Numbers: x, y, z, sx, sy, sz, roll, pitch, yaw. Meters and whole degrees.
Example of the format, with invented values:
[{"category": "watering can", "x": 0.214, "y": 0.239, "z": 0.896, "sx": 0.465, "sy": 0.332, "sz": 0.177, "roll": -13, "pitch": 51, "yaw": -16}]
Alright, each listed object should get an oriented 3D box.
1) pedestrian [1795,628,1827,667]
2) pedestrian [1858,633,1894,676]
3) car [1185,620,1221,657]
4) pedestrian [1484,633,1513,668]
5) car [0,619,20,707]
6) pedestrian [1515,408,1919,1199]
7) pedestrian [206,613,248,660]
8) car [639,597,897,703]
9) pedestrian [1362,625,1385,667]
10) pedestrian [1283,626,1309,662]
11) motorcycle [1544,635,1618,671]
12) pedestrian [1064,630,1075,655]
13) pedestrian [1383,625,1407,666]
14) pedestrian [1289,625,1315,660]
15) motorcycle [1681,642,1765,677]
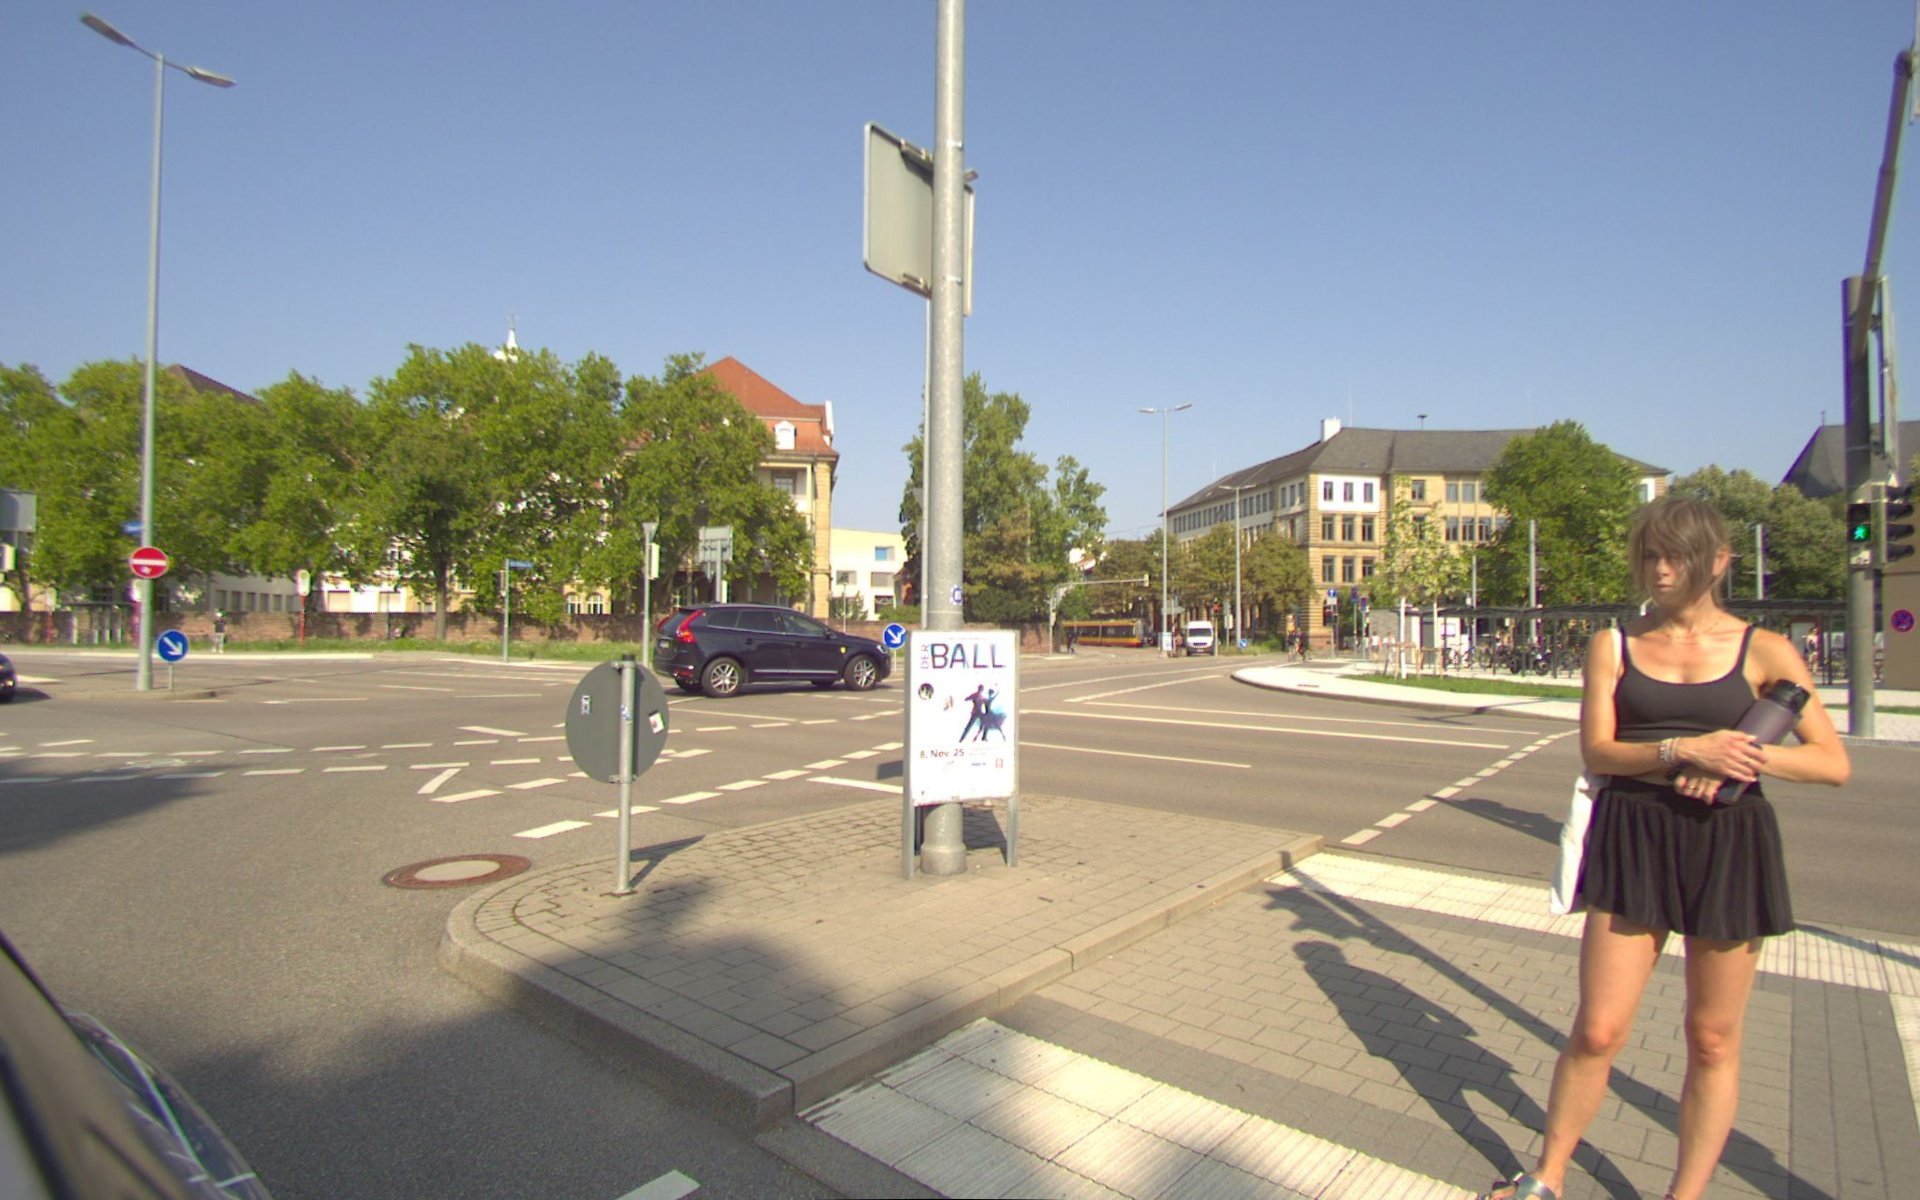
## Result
[{"category": "pedestrian", "x": 31.364, "y": 1.732, "z": 37.296, "sx": 0.680, "sy": 1.419, "sz": 0.590, "roll": 1, "pitch": -2, "yaw": -15}, {"category": "pedestrian", "x": 30.844, "y": 1.827, "z": 34.082, "sx": 0.680, "sy": 1.419, "sz": 0.590, "roll": 1, "pitch": -2, "yaw": -15}, {"category": "car", "x": 18.158, "y": 2.834, "z": 75.404, "sx": 1.985, "sy": 2.470, "sz": 5.516, "roll": -1, "pitch": 0, "yaw": 19}, {"category": "pedestrian", "x": 27.939, "y": 2.620, "z": 52.525, "sx": 0.847, "sy": 1.774, "sz": 1.010, "roll": 1, "pitch": -3, "yaw": -25}, {"category": "car", "x": -18.493, "y": 1.114, "z": 17.891, "sx": 3.832, "sy": 1.509, "sz": 1.610, "roll": -1, "pitch": -1, "yaw": 28}, {"category": "pedestrian", "x": 1.675, "y": 0.534, "z": 2.193, "sx": 0.691, "sy": 1.712, "sz": 0.660, "roll": -2, "pitch": -3, "yaw": 40}, {"category": "pedestrian", "x": -32.444, "y": 1.602, "z": 44.804, "sx": 1.314, "sy": 2.029, "sz": 1.068, "roll": -1, "pitch": -2, "yaw": 32}, {"category": "car", "x": -3.564, "y": 0.835, "z": 18.992, "sx": 4.298, "sy": 1.645, "sz": 2.006, "roll": -2, "pitch": 2, "yaw": -31}, {"category": "pedestrian", "x": 20.352, "y": 2.272, "z": 49.867, "sx": 0.853, "sy": 2.029, "sz": 1.003, "roll": 0, "pitch": -2, "yaw": 12}, {"category": "pedestrian", "x": 19.026, "y": 2.479, "z": 57.313, "sx": 1.207, "sy": 2.029, "sz": 1.330, "roll": -1, "pitch": -3, "yaw": 29}, {"category": "motorcycle", "x": 26.252, "y": 2.217, "z": 42.848, "sx": 0.776, "sy": 1.460, "sz": 2.778, "roll": 1, "pitch": -2, "yaw": -19}, {"category": "pedestrian", "x": 9.187, "y": 3.537, "z": 84.982, "sx": 0.810, "sy": 2.029, "sz": 0.817, "roll": -1, "pitch": 0, "yaw": 1}, {"category": "pedestrian", "x": 21.299, "y": 2.225, "z": 49.604, "sx": 0.853, "sy": 2.029, "sz": 1.003, "roll": 0, "pitch": -2, "yaw": 12}, {"category": "pedestrian", "x": 19.952, "y": 2.462, "z": 59.007, "sx": 1.207, "sy": 2.029, "sz": 1.330, "roll": -1, "pitch": -3, "yaw": 29}, {"category": "motorcycle", "x": 27.629, "y": 2.125, "z": 36.685, "sx": 0.746, "sy": 1.214, "sz": 2.382, "roll": 1, "pitch": -2, "yaw": -20}]
